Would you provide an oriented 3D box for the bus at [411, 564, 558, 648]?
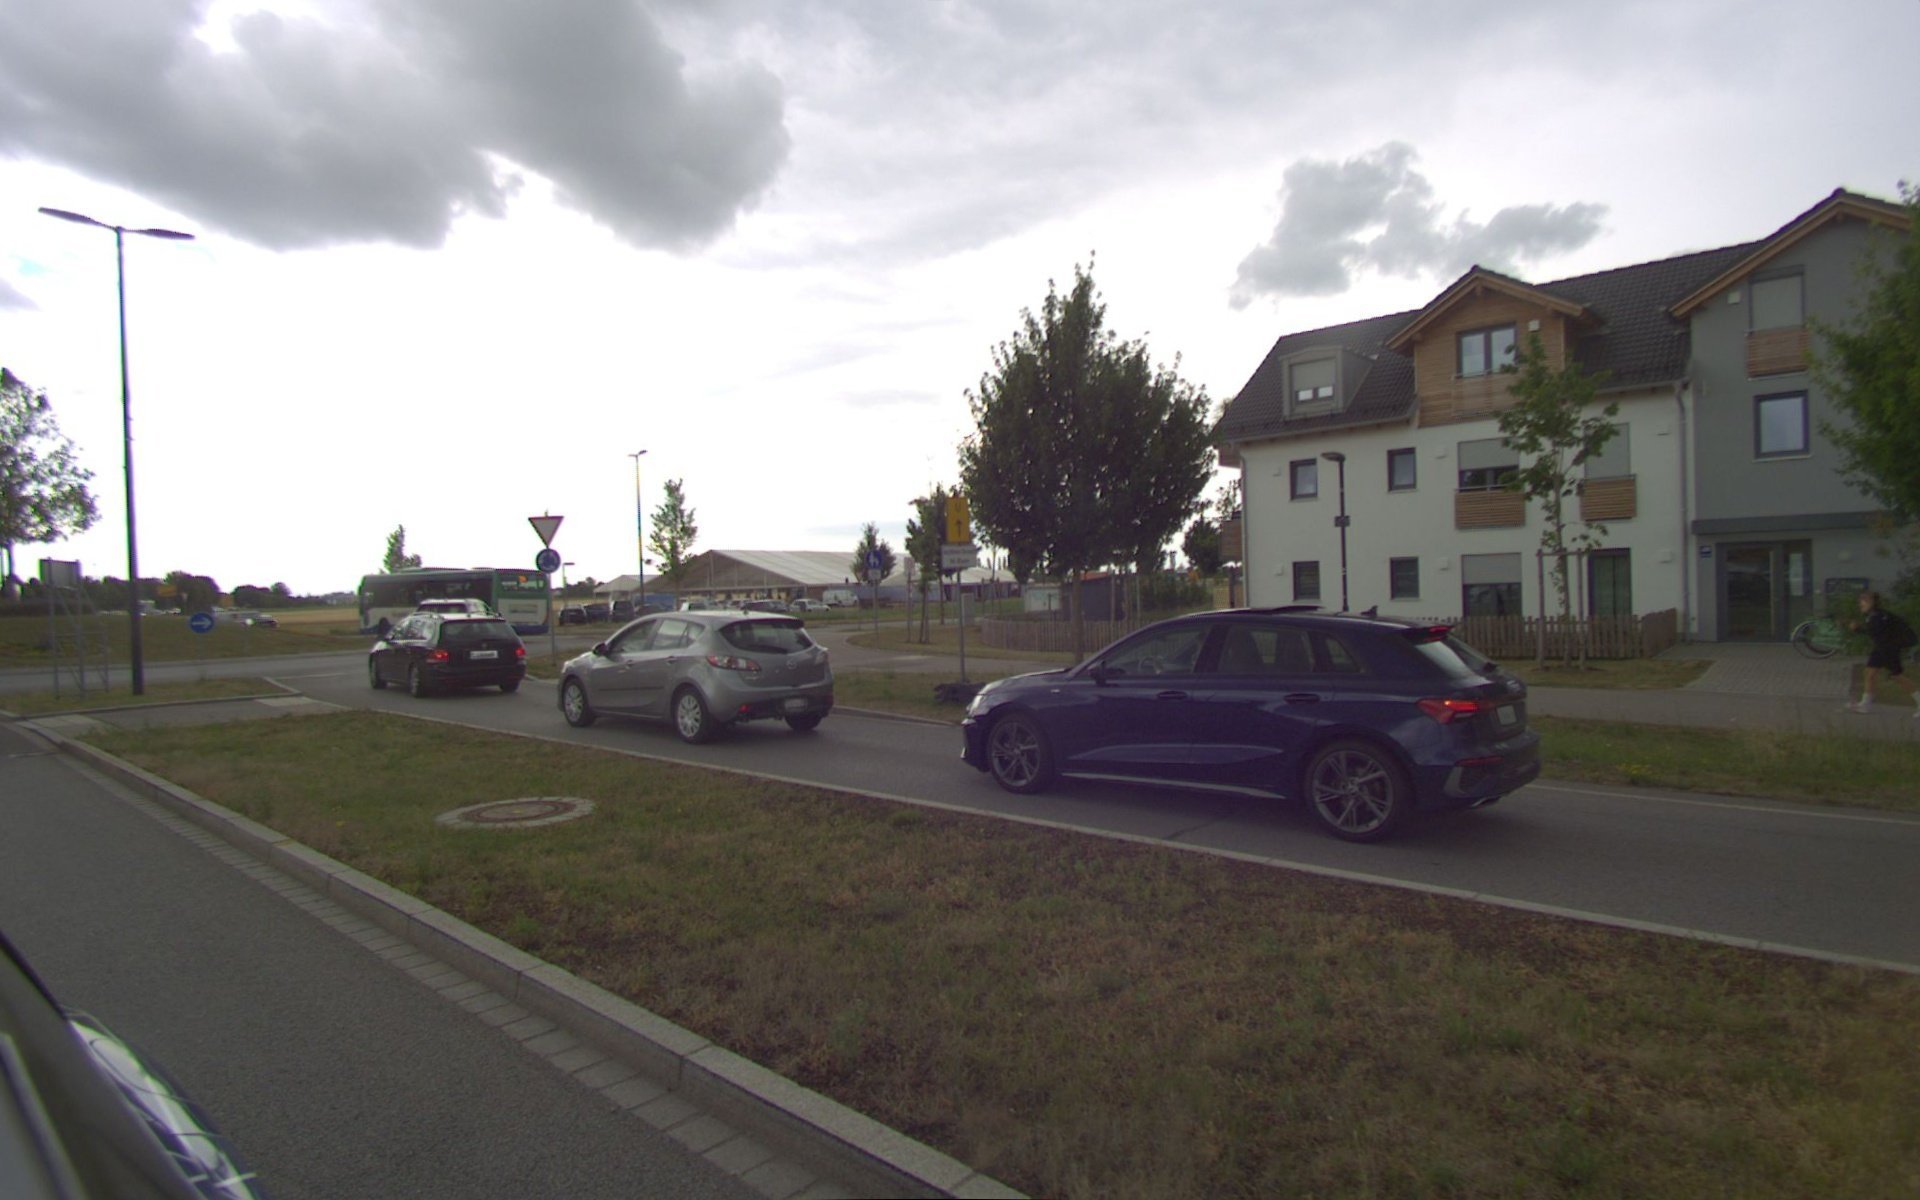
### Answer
[{"bbox_3d":[-20.217,0.300,42.941,6.473,3.305,2.957,-1,-1,37],"label":"bus"}]

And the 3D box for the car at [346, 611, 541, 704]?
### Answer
[{"bbox_3d":[-9.584,0.989,18.619,4.336,1.500,1.806,-2,-1,43],"label":"car"}]

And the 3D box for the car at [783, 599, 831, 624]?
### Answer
[{"bbox_3d":[-12.638,0.924,83.944,1.991,2.029,3.961,-1,-1,28],"label":"car"}]

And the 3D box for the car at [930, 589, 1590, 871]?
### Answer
[{"bbox_3d":[1.983,0.735,7.528,4.348,1.500,1.806,-2,-1,41],"label":"car"}]

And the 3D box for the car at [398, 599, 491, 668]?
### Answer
[{"bbox_3d":[-14.453,0.867,28.587,1.800,1.735,4.414,0,0,-20],"label":"car"}]

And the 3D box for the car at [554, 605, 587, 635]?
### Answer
[{"bbox_3d":[-27.715,1.418,71.997,1.965,2.029,4.013,-1,-1,-24],"label":"car"}]

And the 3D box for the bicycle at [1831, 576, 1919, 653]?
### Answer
[{"bbox_3d":[18.126,0.279,19.419,2.093,1.439,0.675,-2,-1,41],"label":"bicycle"}]

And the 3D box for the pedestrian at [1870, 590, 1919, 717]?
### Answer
[{"bbox_3d":[11.886,0.666,12.750,0.586,1.541,0.540,-2,2,41],"label":"pedestrian"}]

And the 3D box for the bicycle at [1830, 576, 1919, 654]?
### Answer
[{"bbox_3d":[17.589,0.282,18.820,2.093,1.428,0.675,-2,-1,41],"label":"bicycle"}]

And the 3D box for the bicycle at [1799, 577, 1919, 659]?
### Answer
[{"bbox_3d":[16.649,0.326,18.218,2.342,1.423,0.675,-2,-1,41],"label":"bicycle"}]

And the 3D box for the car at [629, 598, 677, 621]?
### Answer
[{"bbox_3d":[-28.088,0.865,92.557,1.991,2.029,3.961,-1,-1,28],"label":"car"}]

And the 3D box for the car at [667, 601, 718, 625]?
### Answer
[{"bbox_3d":[-23.005,1.126,87.026,1.994,2.029,3.956,-1,-1,32],"label":"car"}]

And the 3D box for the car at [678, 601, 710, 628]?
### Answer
[{"bbox_3d":[-20.455,1.103,77.707,1.965,2.029,4.013,-1,-1,-21],"label":"car"}]

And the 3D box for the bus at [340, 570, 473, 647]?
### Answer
[{"bbox_3d":[-25.636,0.434,46.768,6.691,3.305,2.956,-1,-1,37],"label":"bus"}]

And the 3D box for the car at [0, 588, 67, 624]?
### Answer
[{"bbox_3d":[-45.734,0.322,49.039,1.967,1.696,4.010,-1,-1,-12],"label":"car"}]

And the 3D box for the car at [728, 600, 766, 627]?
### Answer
[{"bbox_3d":[-16.520,1.048,78.307,2.194,2.029,4.013,-1,-1,-21],"label":"car"}]

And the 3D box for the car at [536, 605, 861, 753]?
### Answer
[{"bbox_3d":[-3.319,0.851,12.378,4.214,1.500,1.806,-2,-1,41],"label":"car"}]

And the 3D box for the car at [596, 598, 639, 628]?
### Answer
[{"bbox_3d":[-24.672,0.943,72.848,1.966,2.029,4.011,0,-1,-34],"label":"car"}]

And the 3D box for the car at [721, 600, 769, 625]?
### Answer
[{"bbox_3d":[-18.292,1.042,86.252,1.991,2.029,3.961,-1,-1,28],"label":"car"}]

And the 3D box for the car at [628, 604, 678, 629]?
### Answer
[{"bbox_3d":[-26.486,1.407,87.400,1.991,2.029,3.961,-1,-1,28],"label":"car"}]

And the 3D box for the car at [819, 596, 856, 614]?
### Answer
[{"bbox_3d":[-14.329,0.607,118.625,1.991,2.029,4.523,-1,-1,28],"label":"car"}]
